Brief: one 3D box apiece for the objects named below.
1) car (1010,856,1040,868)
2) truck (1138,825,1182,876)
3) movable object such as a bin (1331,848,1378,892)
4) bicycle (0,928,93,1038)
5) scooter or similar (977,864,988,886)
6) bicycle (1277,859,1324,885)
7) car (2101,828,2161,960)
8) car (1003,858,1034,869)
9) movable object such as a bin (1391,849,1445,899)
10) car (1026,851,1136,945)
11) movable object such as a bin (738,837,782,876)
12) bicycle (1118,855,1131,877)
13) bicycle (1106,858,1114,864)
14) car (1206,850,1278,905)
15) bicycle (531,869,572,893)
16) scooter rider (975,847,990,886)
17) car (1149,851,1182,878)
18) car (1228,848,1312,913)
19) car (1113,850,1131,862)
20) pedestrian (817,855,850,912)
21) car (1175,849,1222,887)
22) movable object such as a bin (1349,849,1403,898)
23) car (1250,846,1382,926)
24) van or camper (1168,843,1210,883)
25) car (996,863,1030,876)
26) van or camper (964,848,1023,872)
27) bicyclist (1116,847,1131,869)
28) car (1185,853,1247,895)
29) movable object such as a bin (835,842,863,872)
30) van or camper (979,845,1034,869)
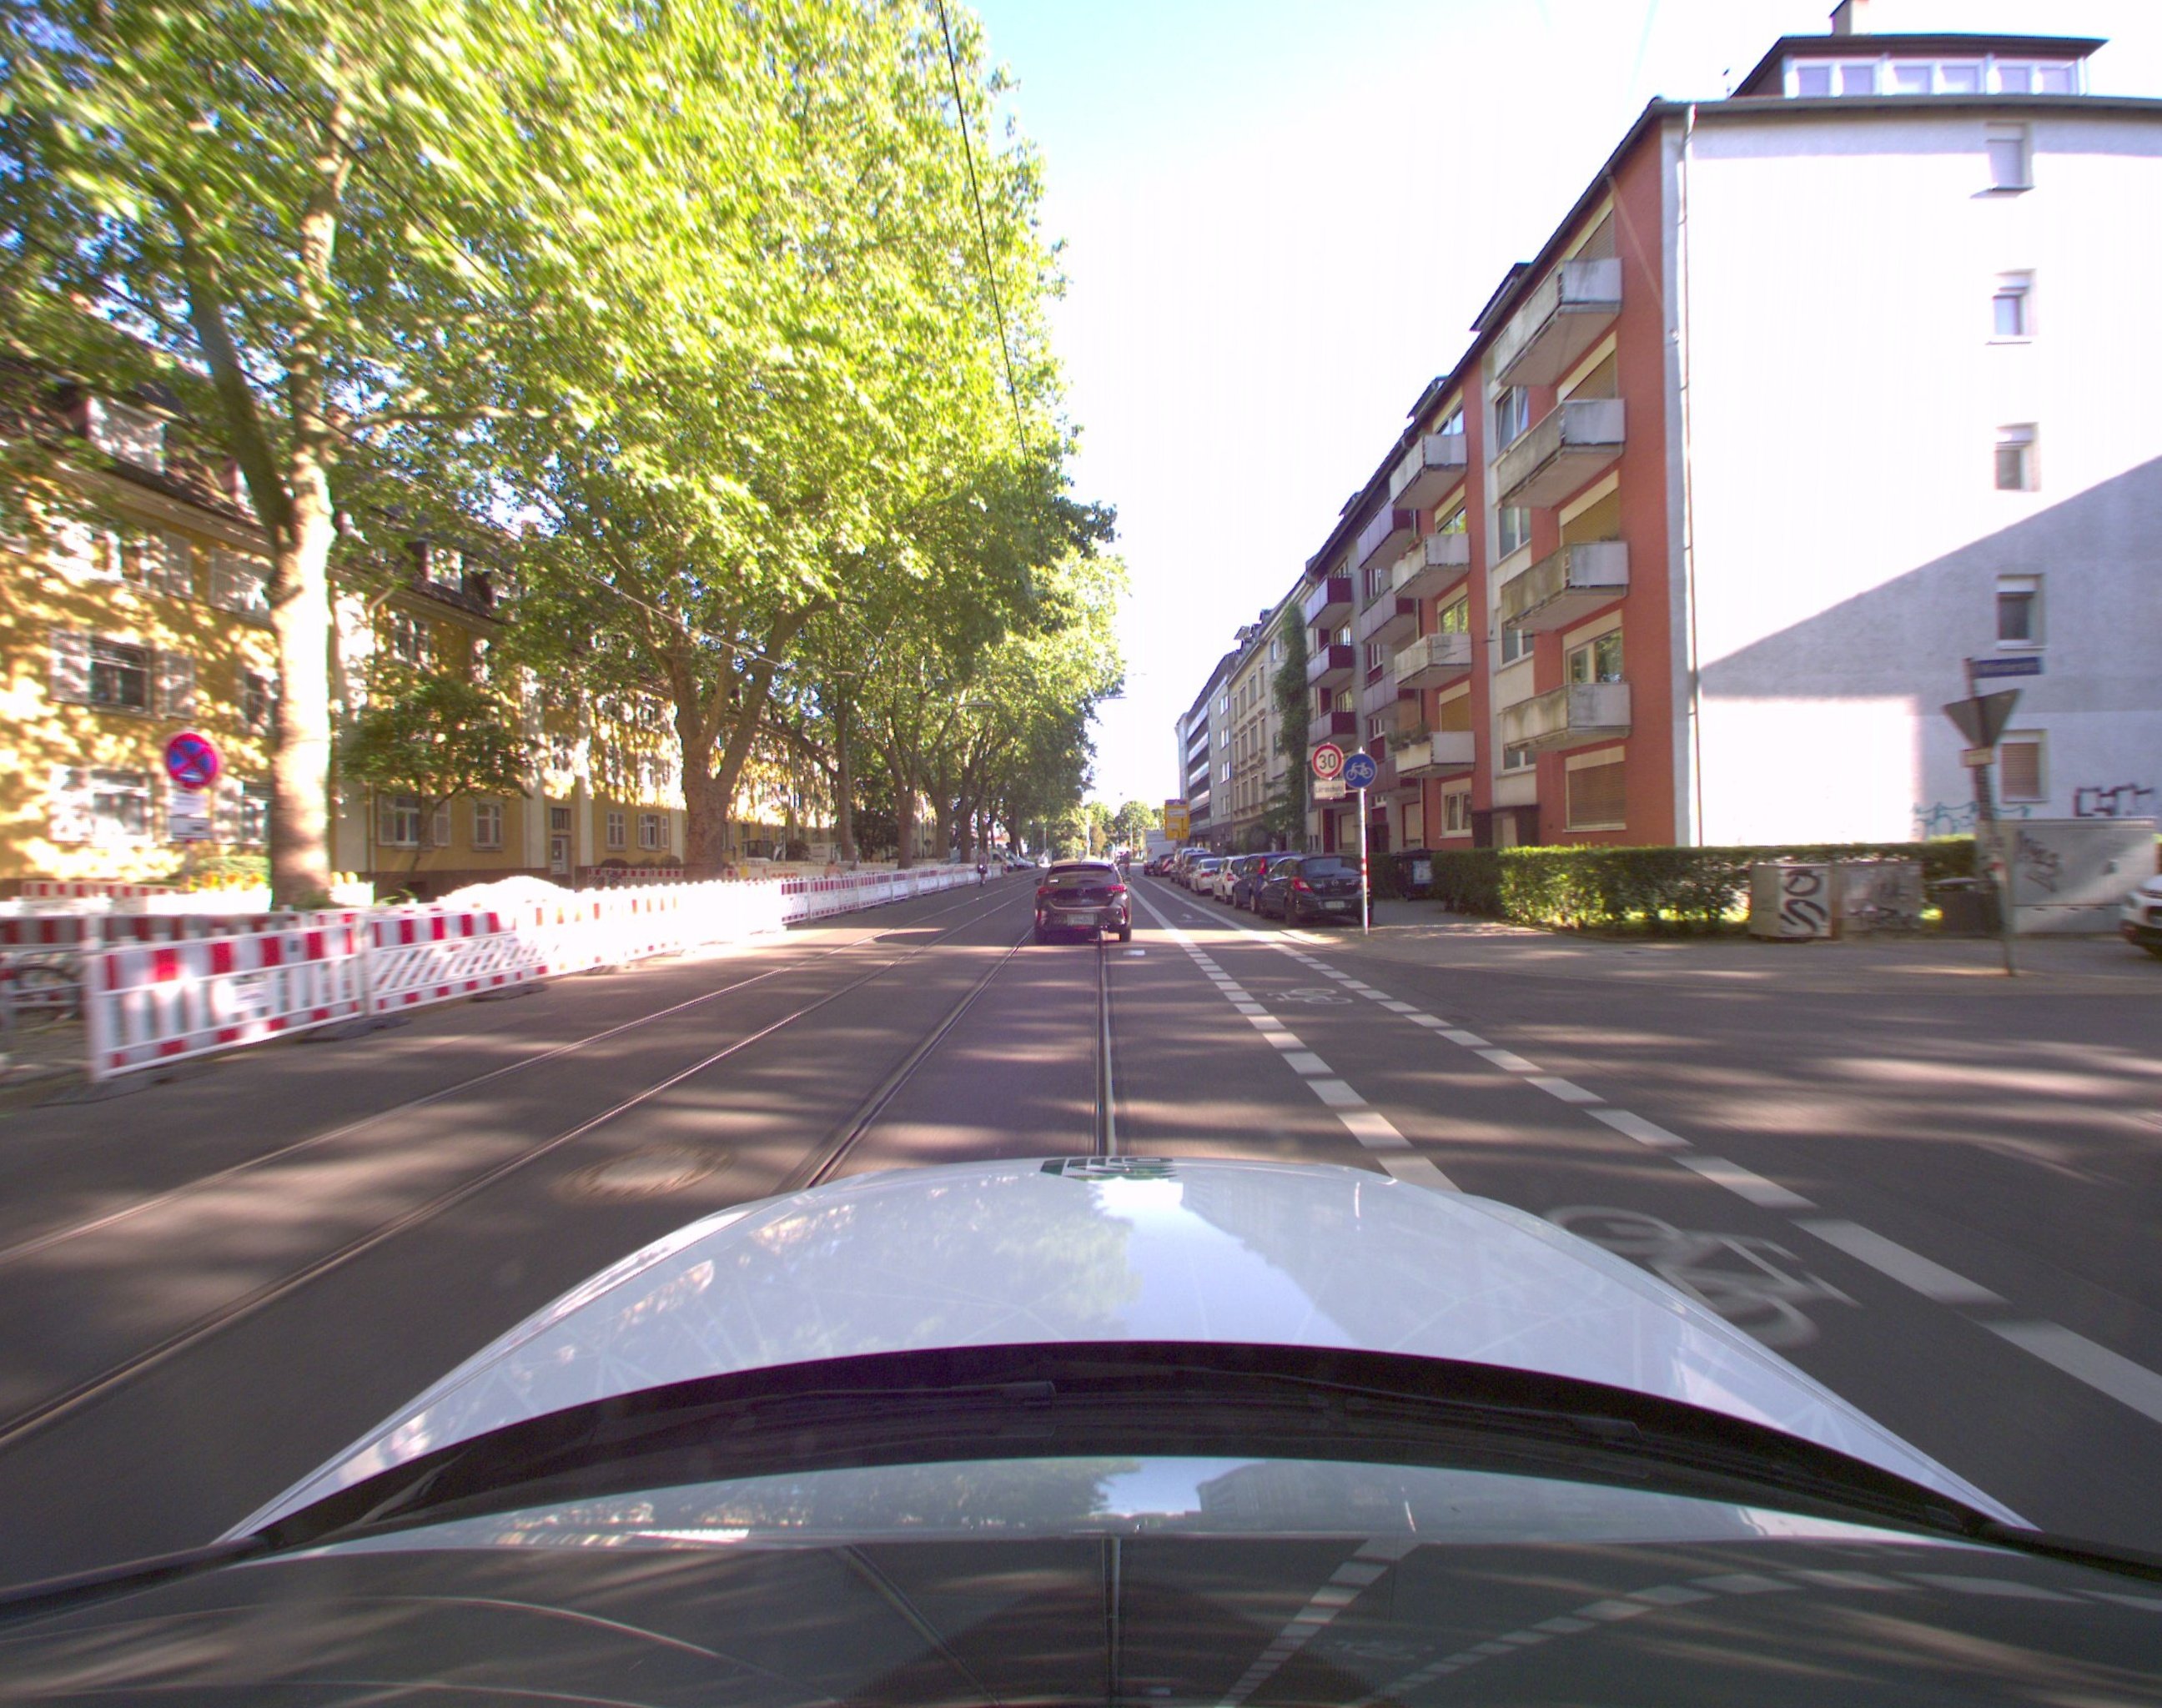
[{"bbox_3d":[-7.984,1.139,115.738,4.157,1.671,1.963,-1,0,-2],"label":"car"},{"bbox_3d":[5.632,-0.238,59.099,2.529,3.338,7.198,-4,0,2],"label":"truck"},{"bbox_3d":[8.390,0.483,25.023,0.920,1.327,1.682,0,-1,2],"label":"movable object such as a bin"},{"bbox_3d":[-11.094,1.258,7.979,1.964,0.963,0.726,-1,0,2],"label":"bicycle"},{"bbox_3d":[-5.075,1.062,41.992,0.406,1.083,1.339,0,-1,2],"label":"scooter or similar"},{"bbox_3d":[9.632,0.793,35.732,1.884,1.029,0.477,-3,0,6],"label":"bicycle"},{"bbox_3d":[14.271,0.448,9.058,3.901,1.482,1.561,-1,3,0],"label":"car"},{"bbox_3d":[-8.352,1.291,109.186,3.971,1.515,1.650,0,-1,2],"label":"car"},{"bbox_3d":[9.071,0.529,21.932,1.148,1.327,0.775,0,-1,1],"label":"movable object such as a bin"},{"bbox_3d":[0.037,0.709,15.184,1.775,1.496,4.001,0,0,1],"label":"car"},{"bbox_3d":[-15.840,0.131,40.272,1.328,1.869,2.008,0,-1,1],"label":"movable object such as a bin"},{"bbox_3d":[3.256,0.857,60.857,0.912,1.561,3.408,0,0,4],"label":"bicycle"},{"bbox_3d":[5.321,1.259,149.510,0.782,0.992,2.253,0,0,18],"label":"bicycle"},{"bbox_3d":[5.029,0.713,25.934,1.585,1.526,3.836,-3,-1,2],"label":"car"},{"bbox_3d":[-19.749,1.001,30.423,0.505,0.819,1.642,-1,0,-2],"label":"bicycle"},{"bbox_3d":[-5.067,0.645,41.996,0.647,1.957,0.624,0,-1,1],"label":"scooter rider"},{"bbox_3d":[5.446,0.663,52.891,1.724,1.557,4.153,-4,0,2],"label":"car"},{"bbox_3d":[4.967,0.671,21.830,1.520,1.590,3.753,0,0,2],"label":"car"},{"bbox_3d":[6.127,0.299,122.271,1.990,1.695,4.732,-3,0,-5],"label":"car"},{"bbox_3d":[-7.250,0.855,23.902,0.714,1.669,0.779,0,-1,1],"label":"pedestrian"},{"bbox_3d":[5.237,0.598,36.720,1.653,1.580,3.590,-2,0,2],"label":"car"},{"bbox_3d":[8.366,0.538,23.208,0.963,1.327,1.722,0,-1,2],"label":"movable object such as a bin"},{"bbox_3d":[4.927,0.616,17.640,1.727,1.462,3.917,-3,0,1],"label":"car"},{"bbox_3d":[5.449,0.453,41.677,1.662,1.883,4.212,-2,0,2],"label":"van or camper"},{"bbox_3d":[-8.281,1.912,99.321,3.971,1.515,1.650,0,-1,2],"label":"car"},{"bbox_3d":[-8.591,0.591,80.281,5.476,2.379,2.272,0,-1,4],"label":"van or camper"},{"bbox_3d":[3.150,0.307,60.804,1.084,1.647,1.402,0,0,3],"label":"bicyclist"},{"bbox_3d":[5.210,0.726,31.960,1.653,1.399,4.740,-3,0,1],"label":"car"},{"bbox_3d":[-12.846,0.164,45.100,1.094,1.645,1.560,0,-1,1],"label":"movable object such as a bin"},{"bbox_3d":[-8.143,0.333,89.629,5.702,2.644,2.270,0,-1,1],"label":"van or camper"}]
